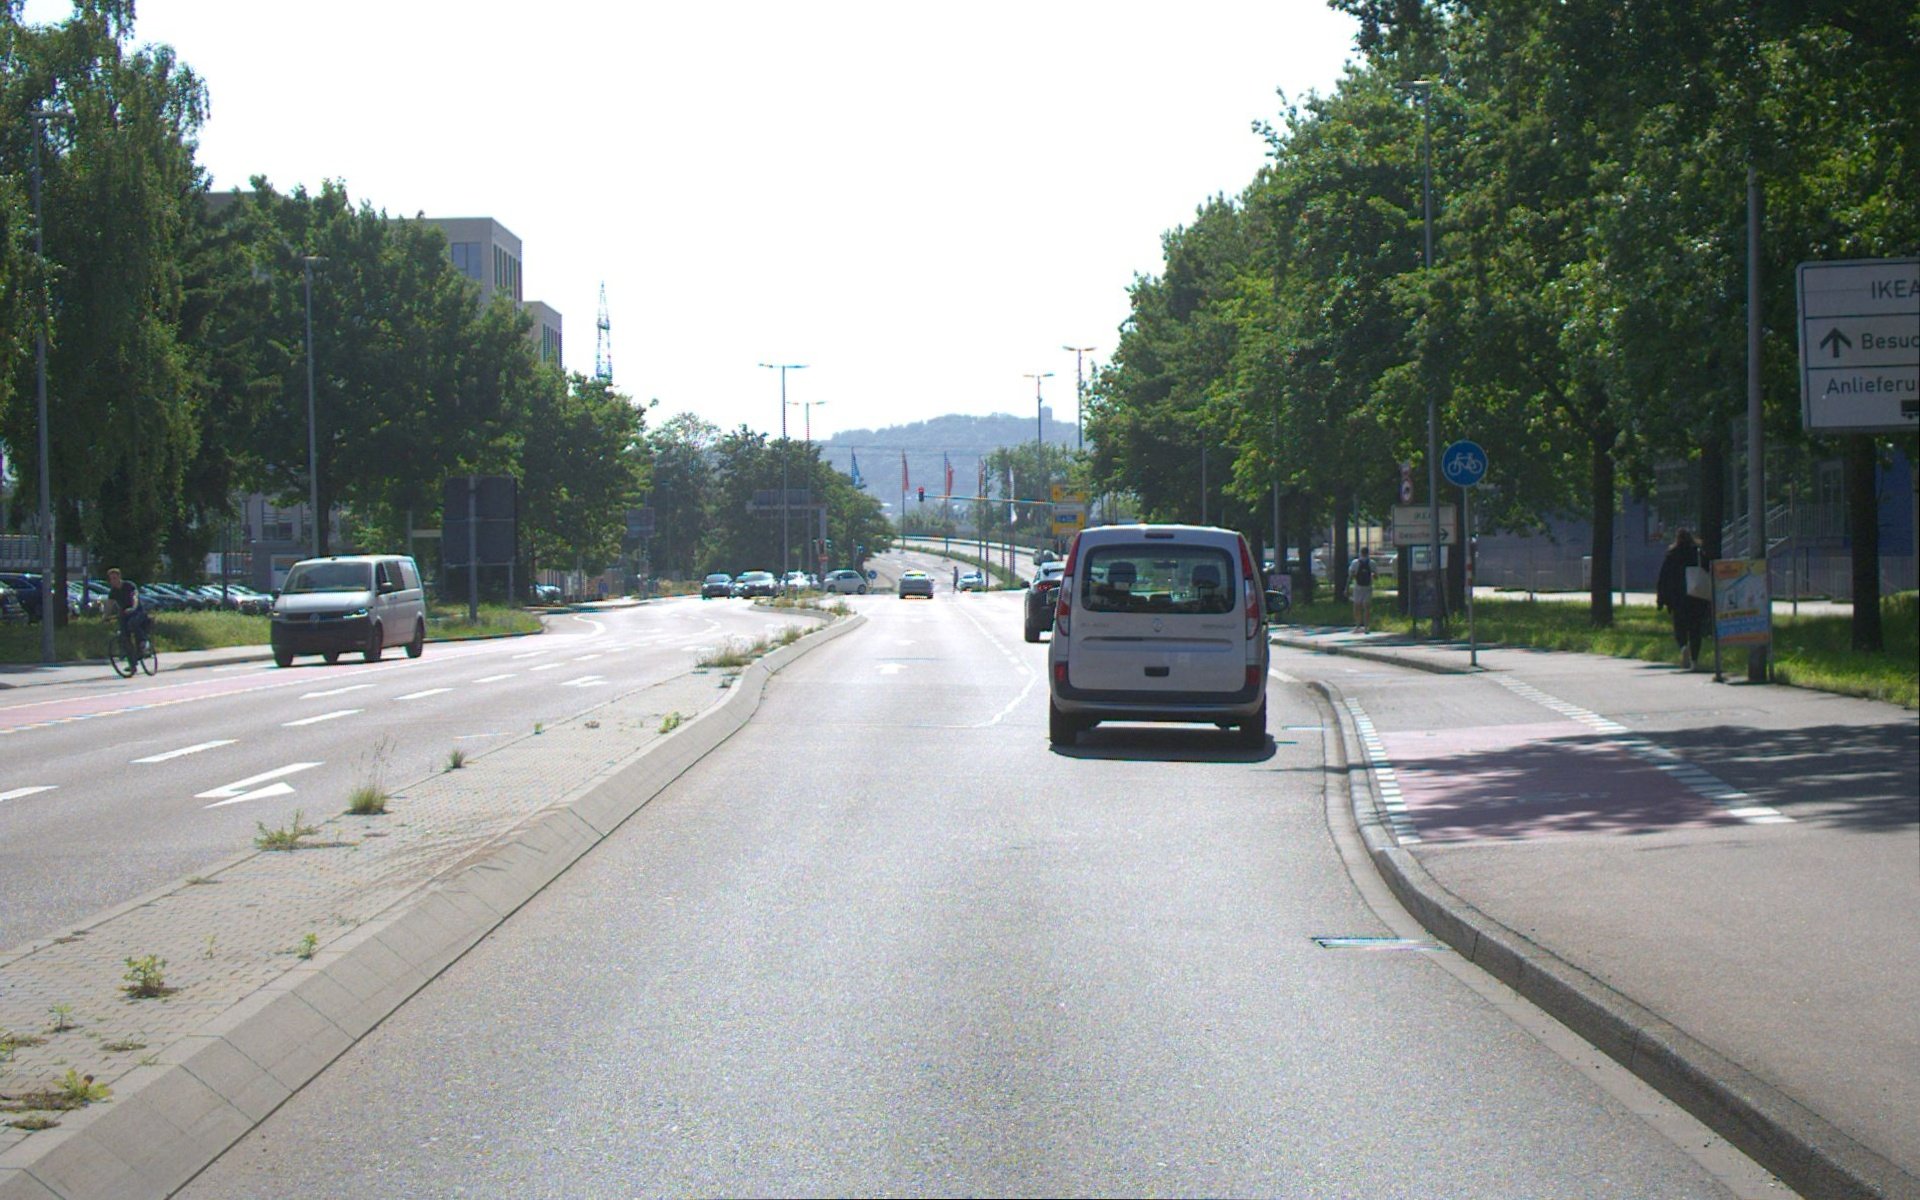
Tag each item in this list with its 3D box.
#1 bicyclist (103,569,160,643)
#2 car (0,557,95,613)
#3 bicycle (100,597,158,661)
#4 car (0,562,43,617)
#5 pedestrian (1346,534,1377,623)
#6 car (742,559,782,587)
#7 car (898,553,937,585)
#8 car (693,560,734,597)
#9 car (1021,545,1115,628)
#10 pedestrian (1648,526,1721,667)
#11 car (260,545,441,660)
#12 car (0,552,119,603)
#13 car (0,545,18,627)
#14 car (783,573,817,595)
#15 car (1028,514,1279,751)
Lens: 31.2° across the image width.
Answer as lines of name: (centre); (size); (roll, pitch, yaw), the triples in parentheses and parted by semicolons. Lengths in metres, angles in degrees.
bicyclist: (-13.911, 0.097, 57.739); (0.633, 1.223, 0.950); (-1, 1, 5)
car: (-24.322, -0.371, 87.068); (4.266, 1.376, 1.954); (-1, 0, 3)
bicycle: (-13.903, 0.482, 57.532); (0.446, 1.024, 1.615); (-1, 1, 5)
car: (-24.881, -0.237, 84.192); (4.266, 1.324, 1.954); (-1, 0, 3)
pedestrian: (8.376, -0.449, 71.690); (0.535, 1.835, 0.728); (-1, 0, 0)
car: (-11.152, -1.528, 193.851); (1.841, 1.458, 5.000); (-3, 0, 0)
car: (-2.339, -1.712, 189.546); (1.993, 1.678, 4.000); (-1, 0, 1)
car: (-14.297, -1.263, 199.514); (1.993, 2.006, 4.000); (2, 2, 2)
car: (2.286, -0.297, 71.723); (1.807, 1.634, 4.458); (-1, 1, 3)
pedestrian: (8.331, -0.040, 39.550); (0.647, 1.598, 0.846); (-1, 0, 1)
car: (-11.285, 0.004, 64.018); (1.994, 2.007, 5.346); (-1, 1, 5)
car: (-24.957, -0.596, 92.259); (4.266, 1.346, 1.954); (-1, 0, 3)
car: (-24.012, -0.298, 78.739); (4.266, 1.878, 1.954); (-1, 0, 3)
car: (-10.747, -1.064, 231.193); (1.816, 1.459, 3.999); (-1, 0, 5)
car: (1.553, 0.239, 28.976); (1.905, 1.822, 4.180); (-1, 0, 1)
